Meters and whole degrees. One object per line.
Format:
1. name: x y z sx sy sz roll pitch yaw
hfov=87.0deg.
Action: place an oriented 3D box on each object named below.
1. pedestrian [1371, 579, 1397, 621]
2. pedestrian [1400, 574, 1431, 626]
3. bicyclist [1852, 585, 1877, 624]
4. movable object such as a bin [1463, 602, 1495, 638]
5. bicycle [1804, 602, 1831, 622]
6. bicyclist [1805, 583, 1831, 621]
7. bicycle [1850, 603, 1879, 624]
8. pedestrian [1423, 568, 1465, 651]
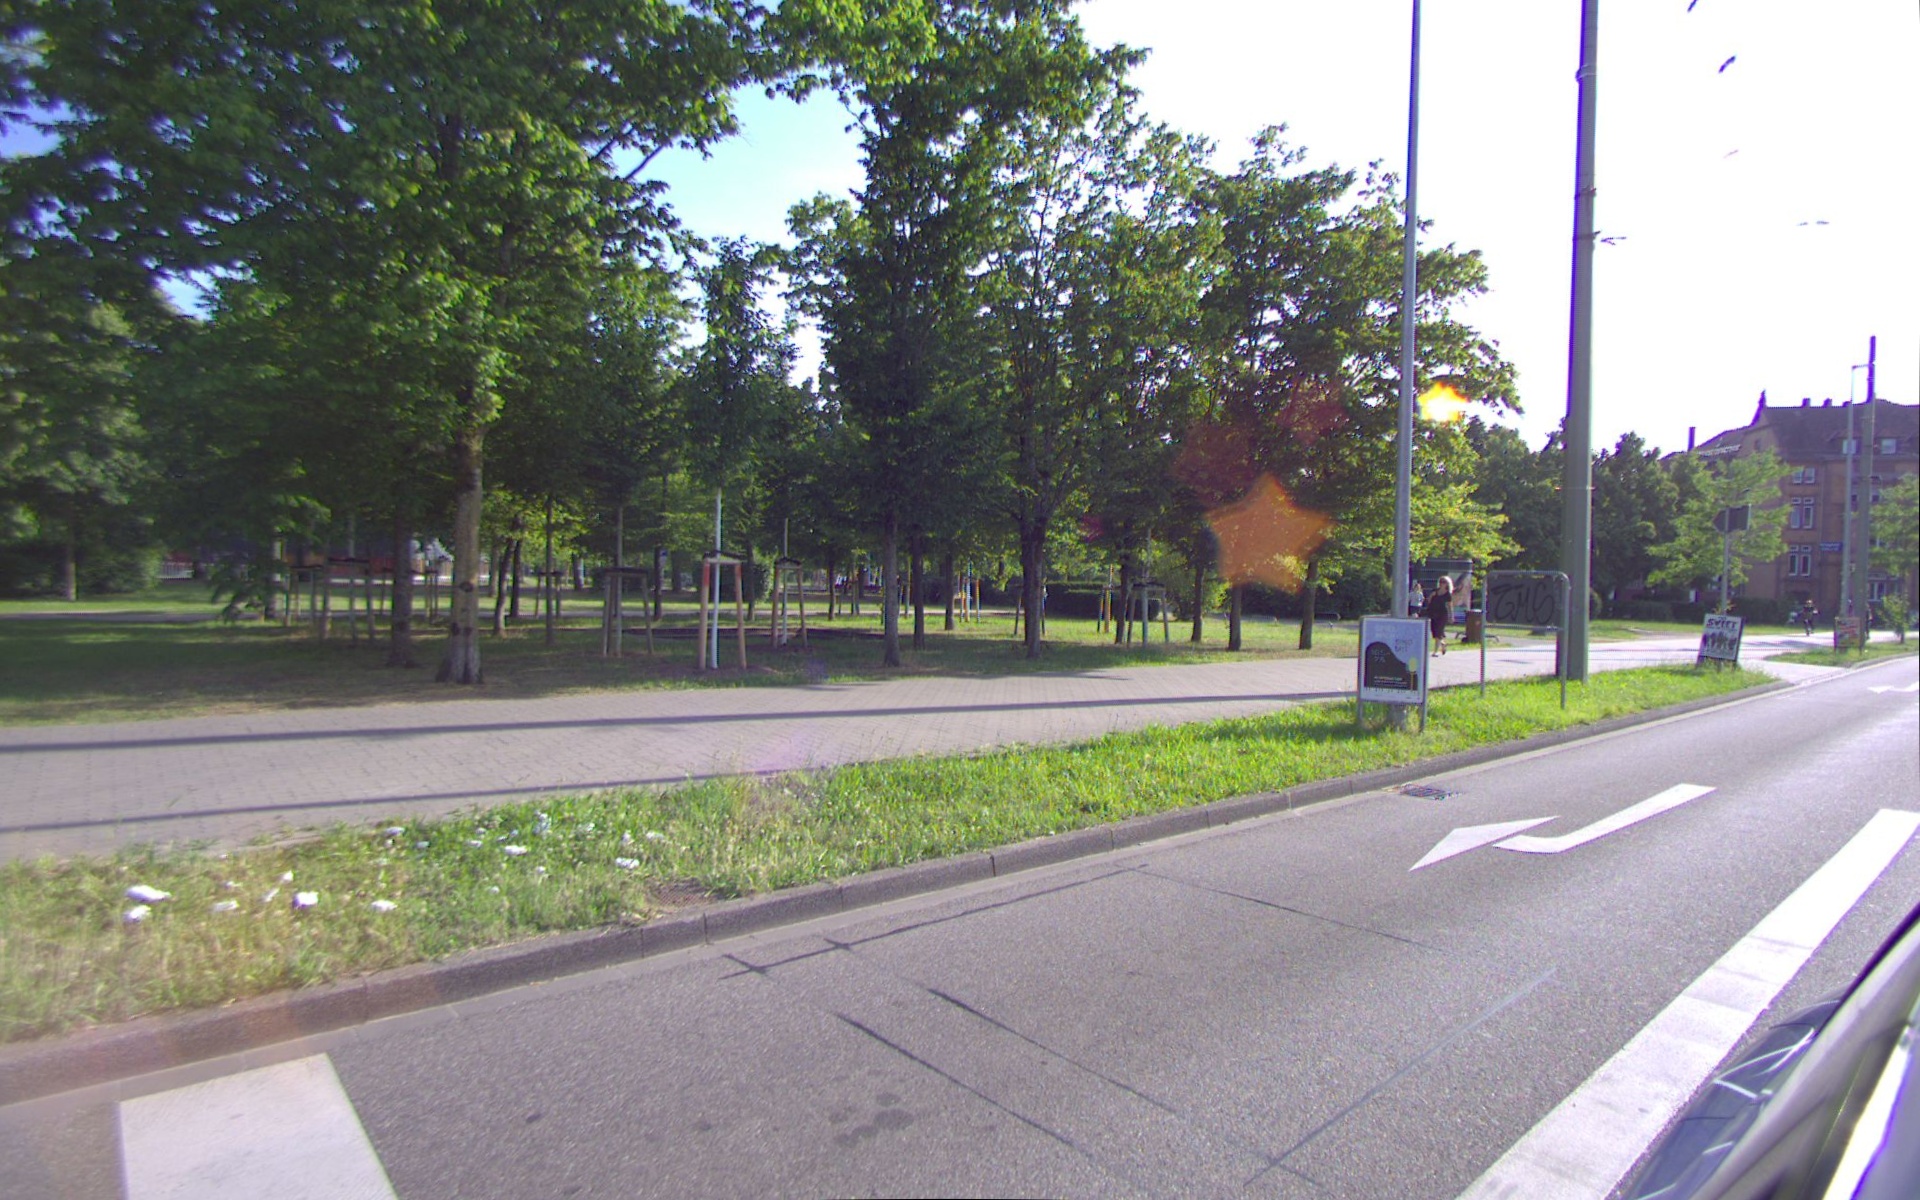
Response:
1. pedestrian: 22.669 0.008 54.112 0.873 2.185 0.913 1 1 -29
2. pedestrian: 15.061 0.001 33.466 0.609 1.672 0.664 1 1 -16
3. bicyclist: 42.546 0.200 47.584 0.998 1.795 0.730 -2 3 -42
4. movable object such as a bin: 13.646 0.512 26.614 0.514 0.915 0.504 2 1 -2
5. bicycle: 41.152 0.559 48.571 2.059 0.929 0.739 1 2 -43
6. bicyclist: 41.321 0.104 48.741 1.099 1.795 0.753 1 1 -42
7. bicycle: 42.575 0.621 47.631 2.057 0.929 0.740 1 1 -40
8. pedestrian: 10.298 0.191 21.533 0.651 1.722 0.557 1 1 -42
